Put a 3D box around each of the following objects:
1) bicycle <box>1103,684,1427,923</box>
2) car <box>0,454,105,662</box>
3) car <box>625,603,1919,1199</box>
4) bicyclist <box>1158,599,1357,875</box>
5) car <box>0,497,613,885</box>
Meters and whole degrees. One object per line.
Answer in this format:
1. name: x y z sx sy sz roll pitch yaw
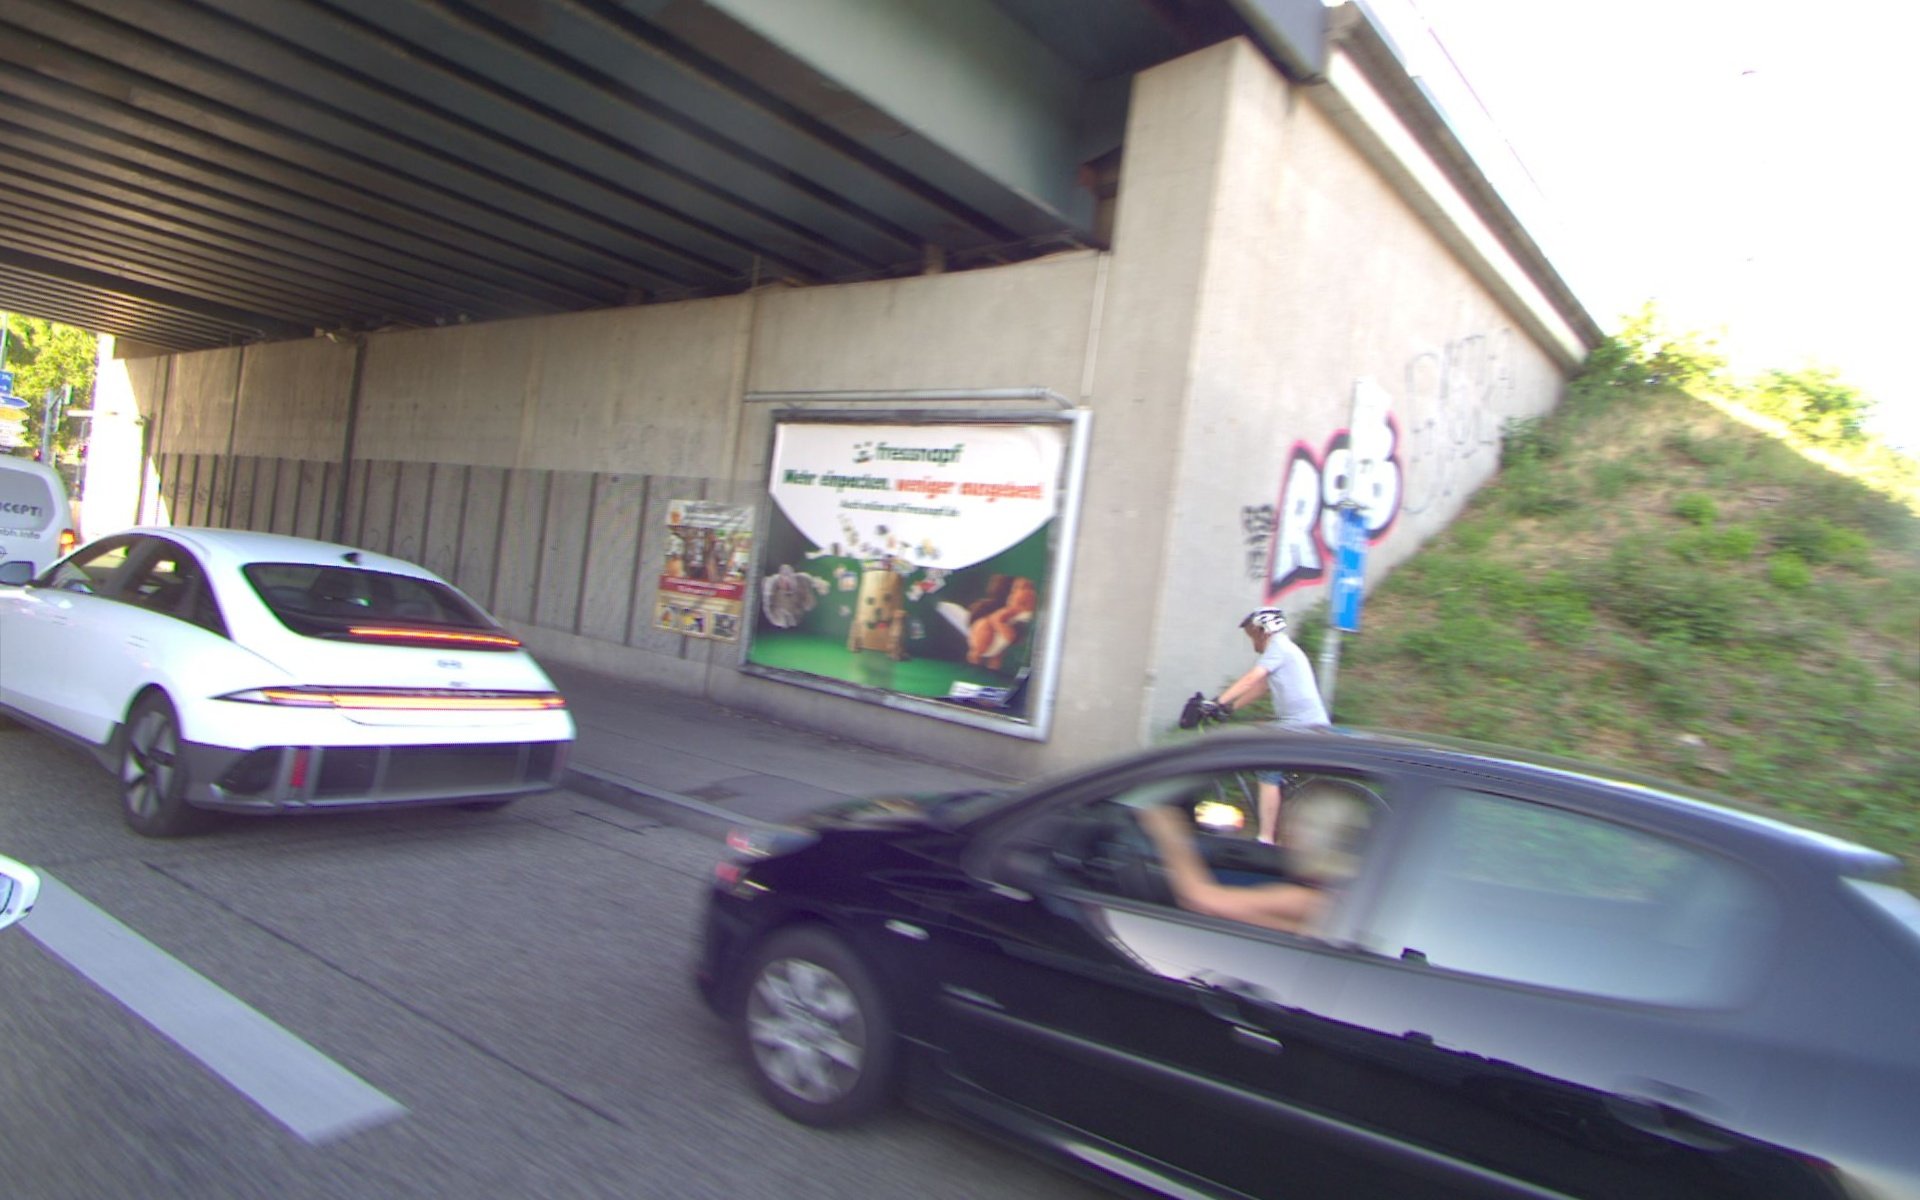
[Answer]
1. bicycle: 1.892 1.196 6.374 1.733 1.071 0.701 7 2 36
2. car: -10.628 -0.614 10.157 4.231 1.855 1.816 7 -1 34
3. car: 0.956 1.002 3.078 3.656 1.473 1.748 7 -1 33
4. bicyclist: 1.887 0.814 6.380 0.895 1.544 0.695 6 2 36
5. car: -4.428 0.309 6.143 4.587 1.473 1.749 7 -1 32
